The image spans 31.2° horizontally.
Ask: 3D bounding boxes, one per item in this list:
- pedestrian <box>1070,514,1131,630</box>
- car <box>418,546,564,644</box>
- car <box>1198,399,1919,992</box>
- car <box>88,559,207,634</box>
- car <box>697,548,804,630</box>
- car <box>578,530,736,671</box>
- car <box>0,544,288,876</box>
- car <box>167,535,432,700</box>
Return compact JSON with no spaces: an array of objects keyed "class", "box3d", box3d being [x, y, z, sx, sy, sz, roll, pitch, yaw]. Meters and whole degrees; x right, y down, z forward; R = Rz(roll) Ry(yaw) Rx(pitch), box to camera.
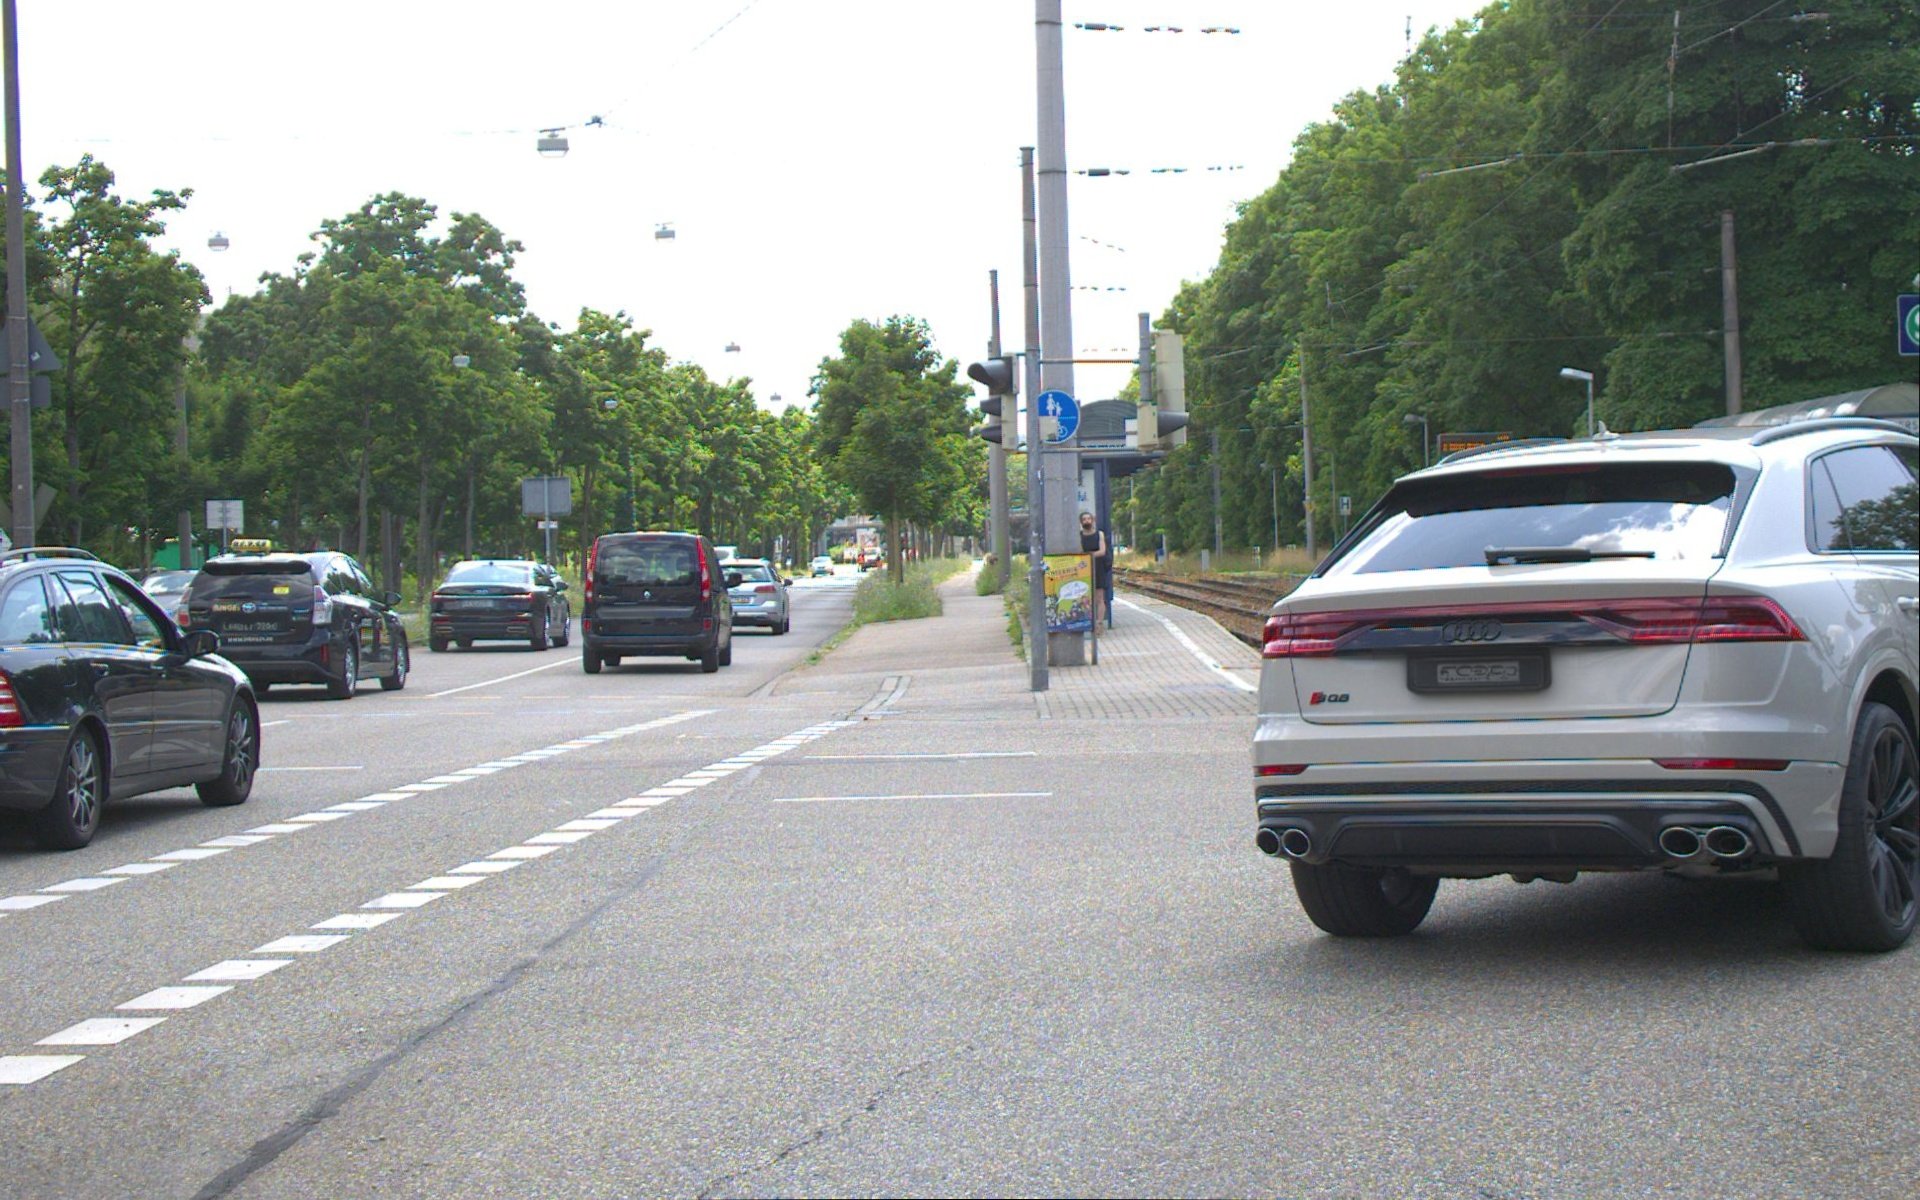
[{"class":"pedestrian","box3d":[1.866,-0.377,45.756,0.653,1.508,0.718,-2,1,-7]},{"class":"car","box3d":[-7.502,-0.108,55.288,1.864,1.499,4.000,-1,1,-1]},{"class":"car","box3d":[2.774,0.223,12.204,1.985,1.678,4.566,-1,1,30]},{"class":"car","box3d":[-18.443,-0.096,78.180,1.786,1.588,3.773,-2,1,0]},{"class":"car","box3d":[-4.035,-0.226,66.767,1.785,1.520,4.301,-1,1,0]},{"class":"car","box3d":[-3.986,-0.020,45.728,1.759,1.771,3.909,-1,1,0]},{"class":"car","box3d":[-4.908,0.479,17.558,1.755,1.461,4.433,-2,1,4]},{"class":"car","box3d":[-7.056,0.151,37.153,1.786,1.662,4.340,-1,1,3]}]
